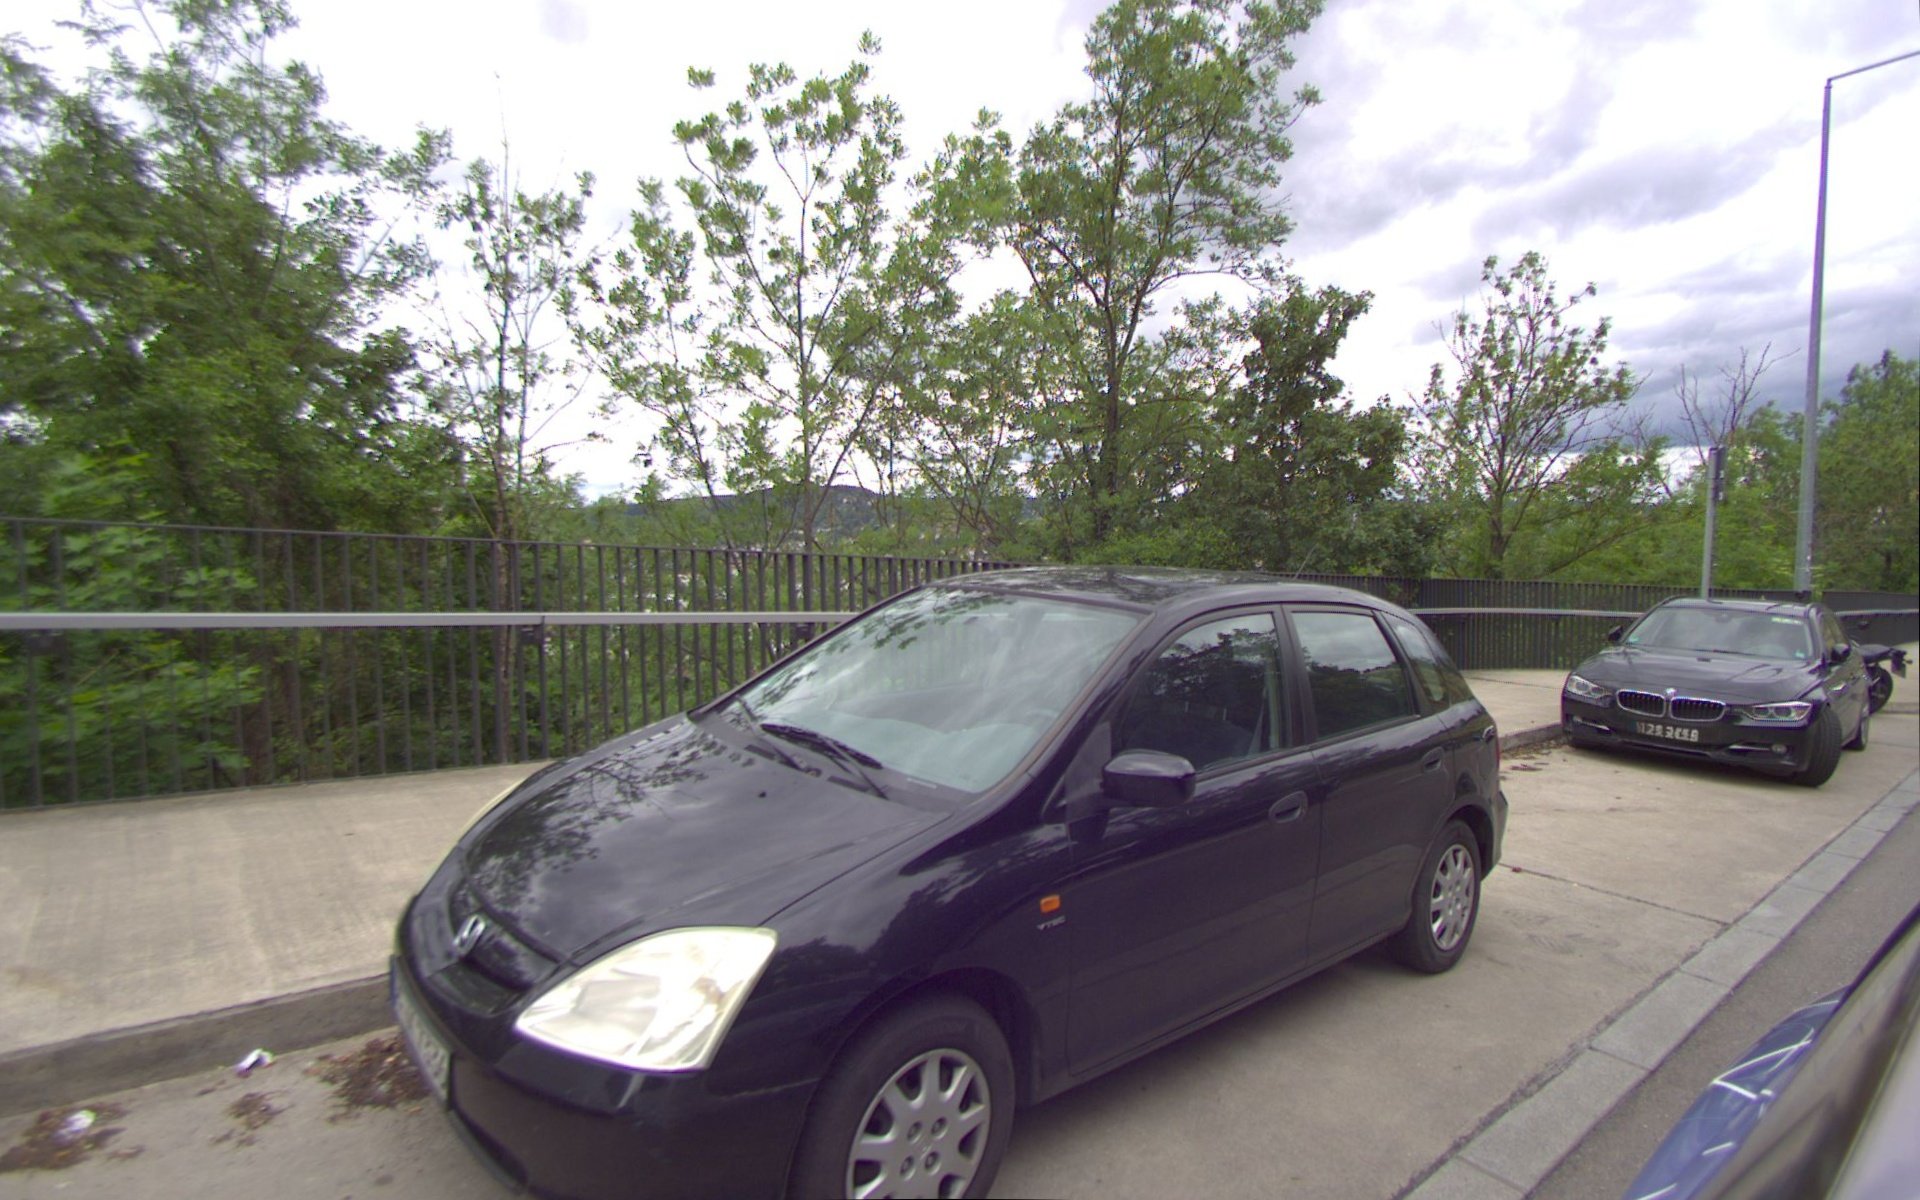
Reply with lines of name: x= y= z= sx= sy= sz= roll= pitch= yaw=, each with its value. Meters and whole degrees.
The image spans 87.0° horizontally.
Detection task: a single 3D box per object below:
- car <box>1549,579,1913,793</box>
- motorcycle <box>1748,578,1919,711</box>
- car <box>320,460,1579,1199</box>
car: x=7.232 y=0.595 z=9.325 sx=4.245 sy=1.417 sz=1.827 roll=0 pitch=5 yaw=-42
motorcycle: x=10.721 y=0.505 z=11.960 sx=2.453 sy=1.486 sz=0.773 roll=1 pitch=1 yaw=-11
car: x=0.393 y=0.516 z=3.472 sx=4.180 sy=1.590 sz=1.664 roll=0 pitch=5 yaw=-41
